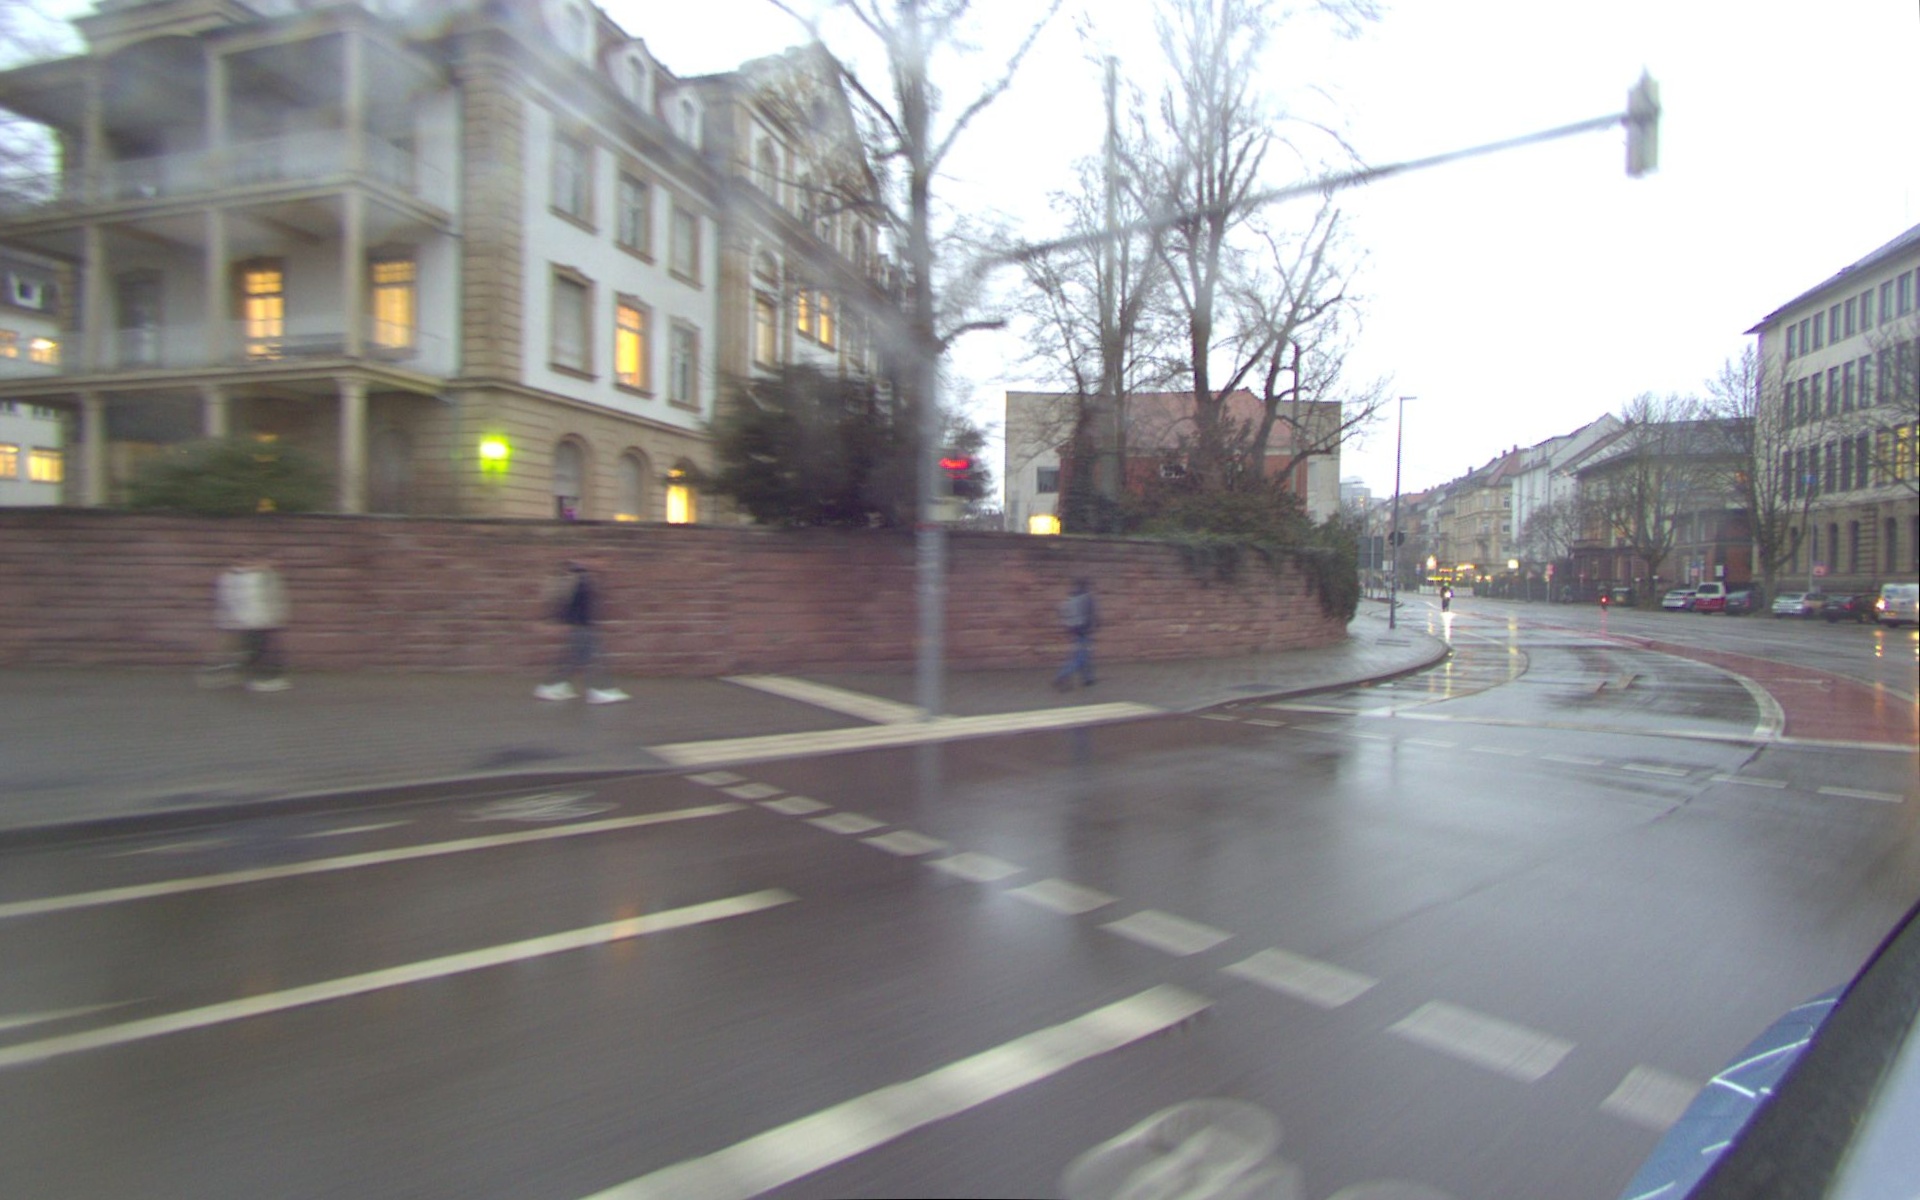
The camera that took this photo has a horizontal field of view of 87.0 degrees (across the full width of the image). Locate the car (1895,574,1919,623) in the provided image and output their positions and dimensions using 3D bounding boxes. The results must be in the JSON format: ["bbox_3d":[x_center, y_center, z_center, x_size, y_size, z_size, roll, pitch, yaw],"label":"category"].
[{"bbox_3d":[42.824,-0.120,43.523,4.704,2.059,1.916,-2,1,-21],"label":"car"}]

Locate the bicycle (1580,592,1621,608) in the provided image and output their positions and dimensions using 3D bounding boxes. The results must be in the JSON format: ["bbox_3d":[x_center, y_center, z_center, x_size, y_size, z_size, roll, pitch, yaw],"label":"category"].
[{"bbox_3d":[41.214,-0.024,65.142,2.096,0.956,0.938,-1,1,21],"label":"bicycle"}]

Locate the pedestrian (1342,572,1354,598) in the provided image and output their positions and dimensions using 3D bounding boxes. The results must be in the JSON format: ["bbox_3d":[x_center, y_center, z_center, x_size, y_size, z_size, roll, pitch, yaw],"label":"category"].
[{"bbox_3d":[28.870,-1.133,75.262,0.764,1.881,0.714,2,2,19],"label":"pedestrian"}]

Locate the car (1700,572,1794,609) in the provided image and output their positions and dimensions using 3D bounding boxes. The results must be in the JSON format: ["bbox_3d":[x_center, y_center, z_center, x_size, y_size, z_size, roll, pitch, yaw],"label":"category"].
[{"bbox_3d":[47.922,-0.612,61.665,4.527,2.079,1.970,-2,1,-10],"label":"car"}]

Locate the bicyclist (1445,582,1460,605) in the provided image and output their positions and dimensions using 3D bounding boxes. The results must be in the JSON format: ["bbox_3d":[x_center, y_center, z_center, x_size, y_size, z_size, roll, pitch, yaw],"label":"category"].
[{"bbox_3d":[29.316,-0.407,60.245,0.709,1.359,0.714,-1,1,24],"label":"bicyclist"}]

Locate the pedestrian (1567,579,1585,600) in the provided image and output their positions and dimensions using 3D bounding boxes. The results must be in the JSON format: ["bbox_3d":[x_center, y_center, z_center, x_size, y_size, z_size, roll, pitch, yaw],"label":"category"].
[{"bbox_3d":[52.476,-0.874,86.194,0.905,1.724,0.949,-2,1,-6],"label":"pedestrian"}]

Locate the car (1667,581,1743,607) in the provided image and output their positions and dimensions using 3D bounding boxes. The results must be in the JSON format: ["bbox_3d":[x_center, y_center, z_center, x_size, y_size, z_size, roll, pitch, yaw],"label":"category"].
[{"bbox_3d":[49.618,-0.407,67.429,4.098,1.610,1.779,-2,1,-12],"label":"car"}]

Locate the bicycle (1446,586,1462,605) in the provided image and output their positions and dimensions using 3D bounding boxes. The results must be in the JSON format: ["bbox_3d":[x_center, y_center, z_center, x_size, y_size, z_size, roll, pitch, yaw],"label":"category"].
[{"bbox_3d":[29.428,-0.260,60.319,0.716,1.104,2.267,0,0,23],"label":"bicycle"}]

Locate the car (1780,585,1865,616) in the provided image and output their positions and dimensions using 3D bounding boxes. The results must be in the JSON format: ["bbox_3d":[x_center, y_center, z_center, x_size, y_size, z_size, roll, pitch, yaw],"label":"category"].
[{"bbox_3d":[45.974,0.008,53.943,3.747,1.476,1.641,-2,1,-17],"label":"car"}]

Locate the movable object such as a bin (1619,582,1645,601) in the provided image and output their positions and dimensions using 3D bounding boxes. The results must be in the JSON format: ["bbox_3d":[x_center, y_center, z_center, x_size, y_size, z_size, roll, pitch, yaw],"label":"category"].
[{"bbox_3d":[52.113,-0.673,78.486,0.965,1.483,1.347,-2,1,-21],"label":"movable object such as a bin"}]

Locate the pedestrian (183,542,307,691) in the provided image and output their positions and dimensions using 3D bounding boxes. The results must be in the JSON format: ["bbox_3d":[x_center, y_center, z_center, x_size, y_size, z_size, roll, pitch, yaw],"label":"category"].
[{"bbox_3d":[-8.546,0.172,12.111,0.947,1.696,0.777,2,2,13],"label":"pedestrian"}]

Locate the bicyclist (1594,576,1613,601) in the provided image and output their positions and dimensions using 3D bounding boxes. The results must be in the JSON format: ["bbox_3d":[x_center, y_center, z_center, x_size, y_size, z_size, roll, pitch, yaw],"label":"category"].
[{"bbox_3d":[41.338,-0.742,65.004,0.846,1.615,0.775,0,1,21],"label":"bicyclist"}]

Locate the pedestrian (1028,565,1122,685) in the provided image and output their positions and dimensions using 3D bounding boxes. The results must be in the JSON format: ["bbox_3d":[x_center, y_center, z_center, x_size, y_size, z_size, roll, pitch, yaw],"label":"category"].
[{"bbox_3d":[1.730,0.353,15.231,1.136,1.705,0.806,1,2,-42],"label":"pedestrian"}]

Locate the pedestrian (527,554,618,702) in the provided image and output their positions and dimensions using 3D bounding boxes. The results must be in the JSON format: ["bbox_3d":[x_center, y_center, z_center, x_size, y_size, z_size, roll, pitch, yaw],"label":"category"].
[{"bbox_3d":[-4.693,0.310,12.254,0.788,1.696,0.720,3,2,38],"label":"pedestrian"}]

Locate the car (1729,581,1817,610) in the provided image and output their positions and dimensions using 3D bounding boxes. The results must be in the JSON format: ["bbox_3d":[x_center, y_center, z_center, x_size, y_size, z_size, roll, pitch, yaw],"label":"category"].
[{"bbox_3d":[47.140,-0.282,58.705,3.894,1.558,1.827,-2,1,-11],"label":"car"}]

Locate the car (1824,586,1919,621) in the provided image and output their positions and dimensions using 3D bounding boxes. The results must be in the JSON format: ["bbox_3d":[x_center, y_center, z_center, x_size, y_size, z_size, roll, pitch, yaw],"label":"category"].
[{"bbox_3d":[44.511,0.147,48.864,4.385,1.476,1.803,-2,1,-9],"label":"car"}]

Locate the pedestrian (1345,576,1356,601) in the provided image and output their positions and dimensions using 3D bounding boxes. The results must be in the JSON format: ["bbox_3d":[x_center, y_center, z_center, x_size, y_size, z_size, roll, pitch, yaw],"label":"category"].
[{"bbox_3d":[29.044,-0.858,75.202,0.649,1.882,0.656,2,2,18],"label":"pedestrian"}]
